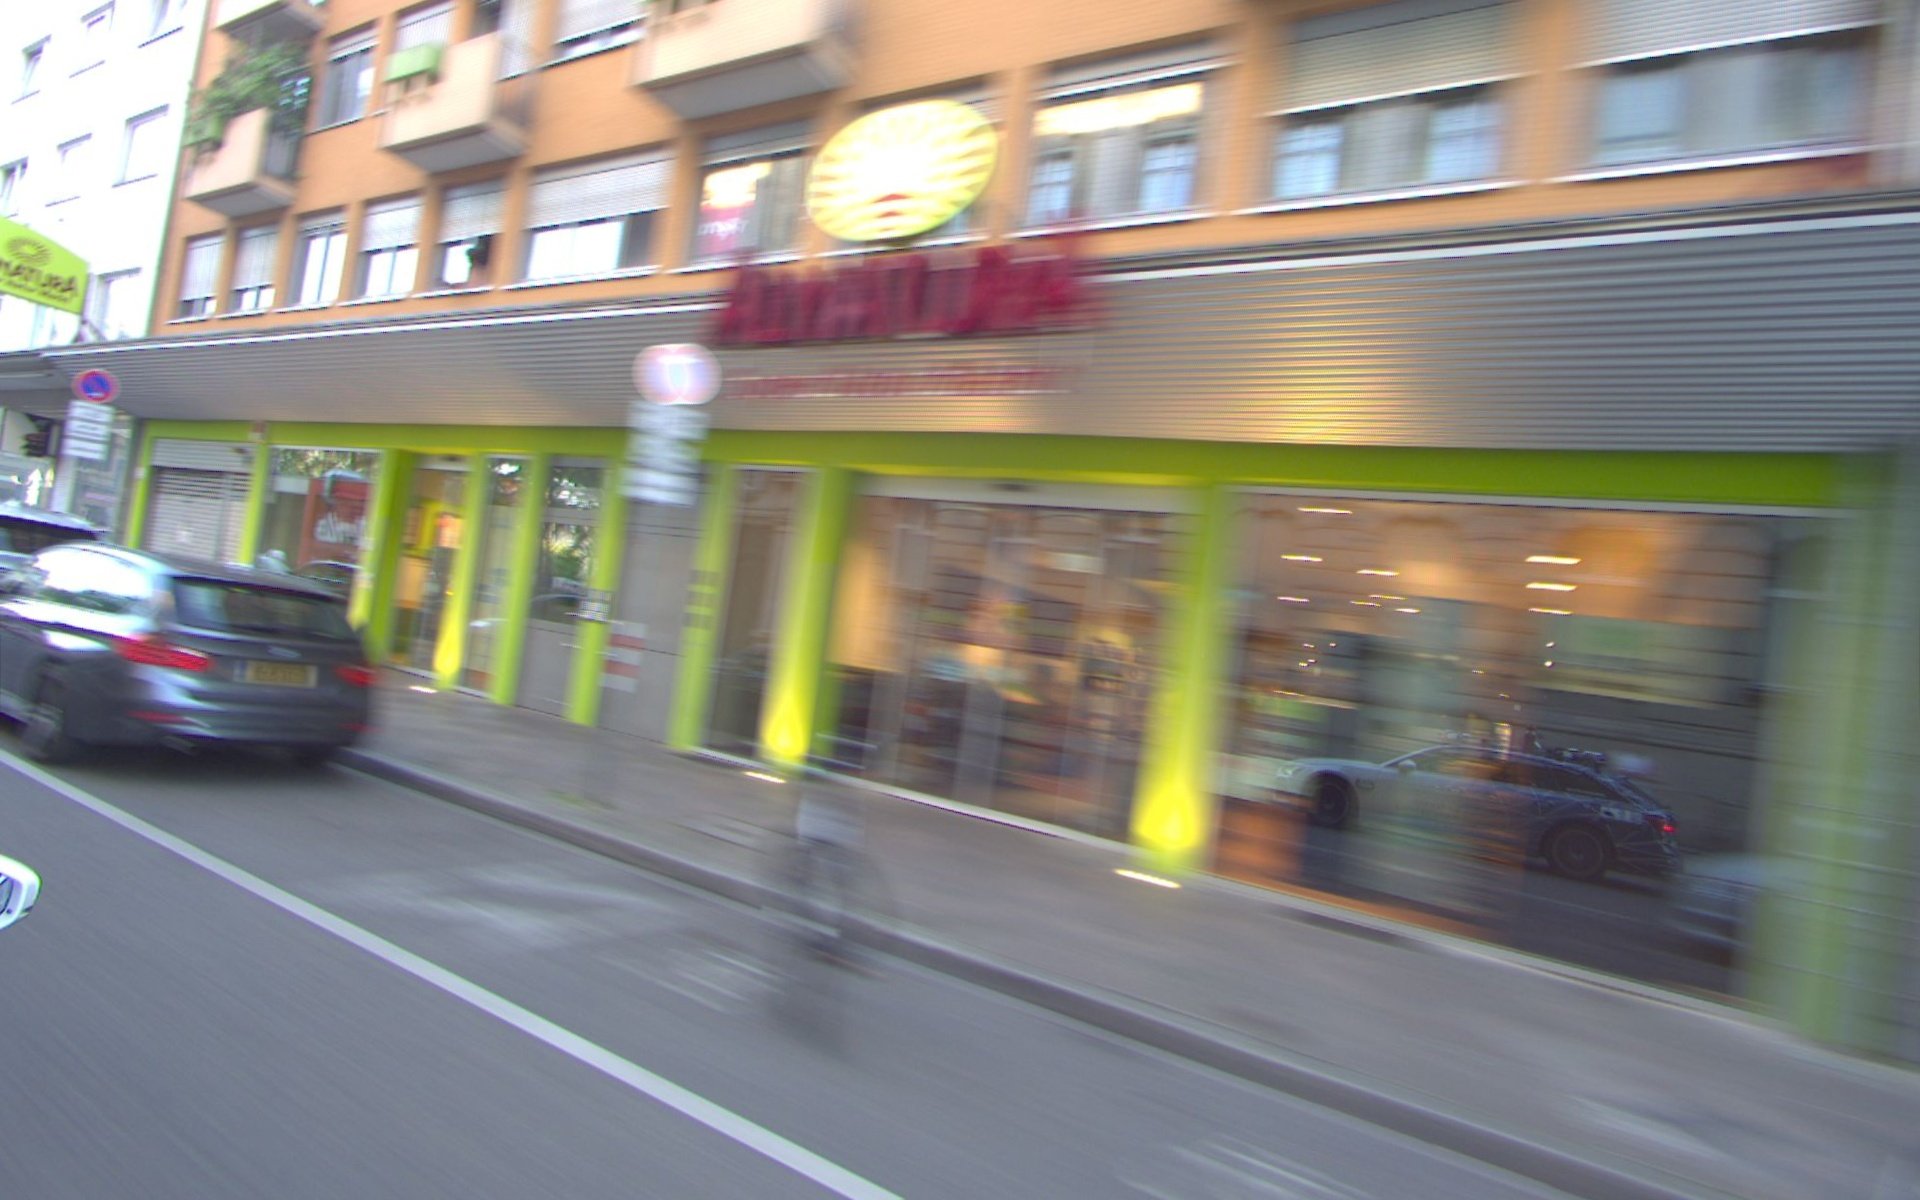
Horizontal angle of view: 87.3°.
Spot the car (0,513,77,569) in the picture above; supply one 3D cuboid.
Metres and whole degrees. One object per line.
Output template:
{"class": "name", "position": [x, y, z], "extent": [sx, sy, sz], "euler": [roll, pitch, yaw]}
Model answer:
{"class": "car", "position": [-29.220, -1.927, 31.153], "extent": [3.936, 1.352, 1.743], "euler": [7, -2, 34]}

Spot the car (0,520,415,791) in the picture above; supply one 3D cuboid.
{"class": "car", "position": [-6.464, 0.288, 7.793], "extent": [4.678, 1.429, 1.697], "euler": [7, -5, 32]}

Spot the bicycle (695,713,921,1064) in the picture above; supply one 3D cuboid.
{"class": "bicycle", "position": [-0.685, 1.137, 4.467], "extent": [0.649, 1.066, 1.737], "euler": [9, -4, -9]}

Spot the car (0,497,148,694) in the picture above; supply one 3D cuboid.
{"class": "car", "position": [-10.562, -0.295, 10.389], "extent": [4.678, 1.685, 1.758], "euler": [7, -5, 32]}

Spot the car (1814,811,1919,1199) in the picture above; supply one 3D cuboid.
{"class": "car", "position": [4.304, 1.492, 1.282], "extent": [4.559, 1.425, 1.699], "euler": [7, -5, 29]}
